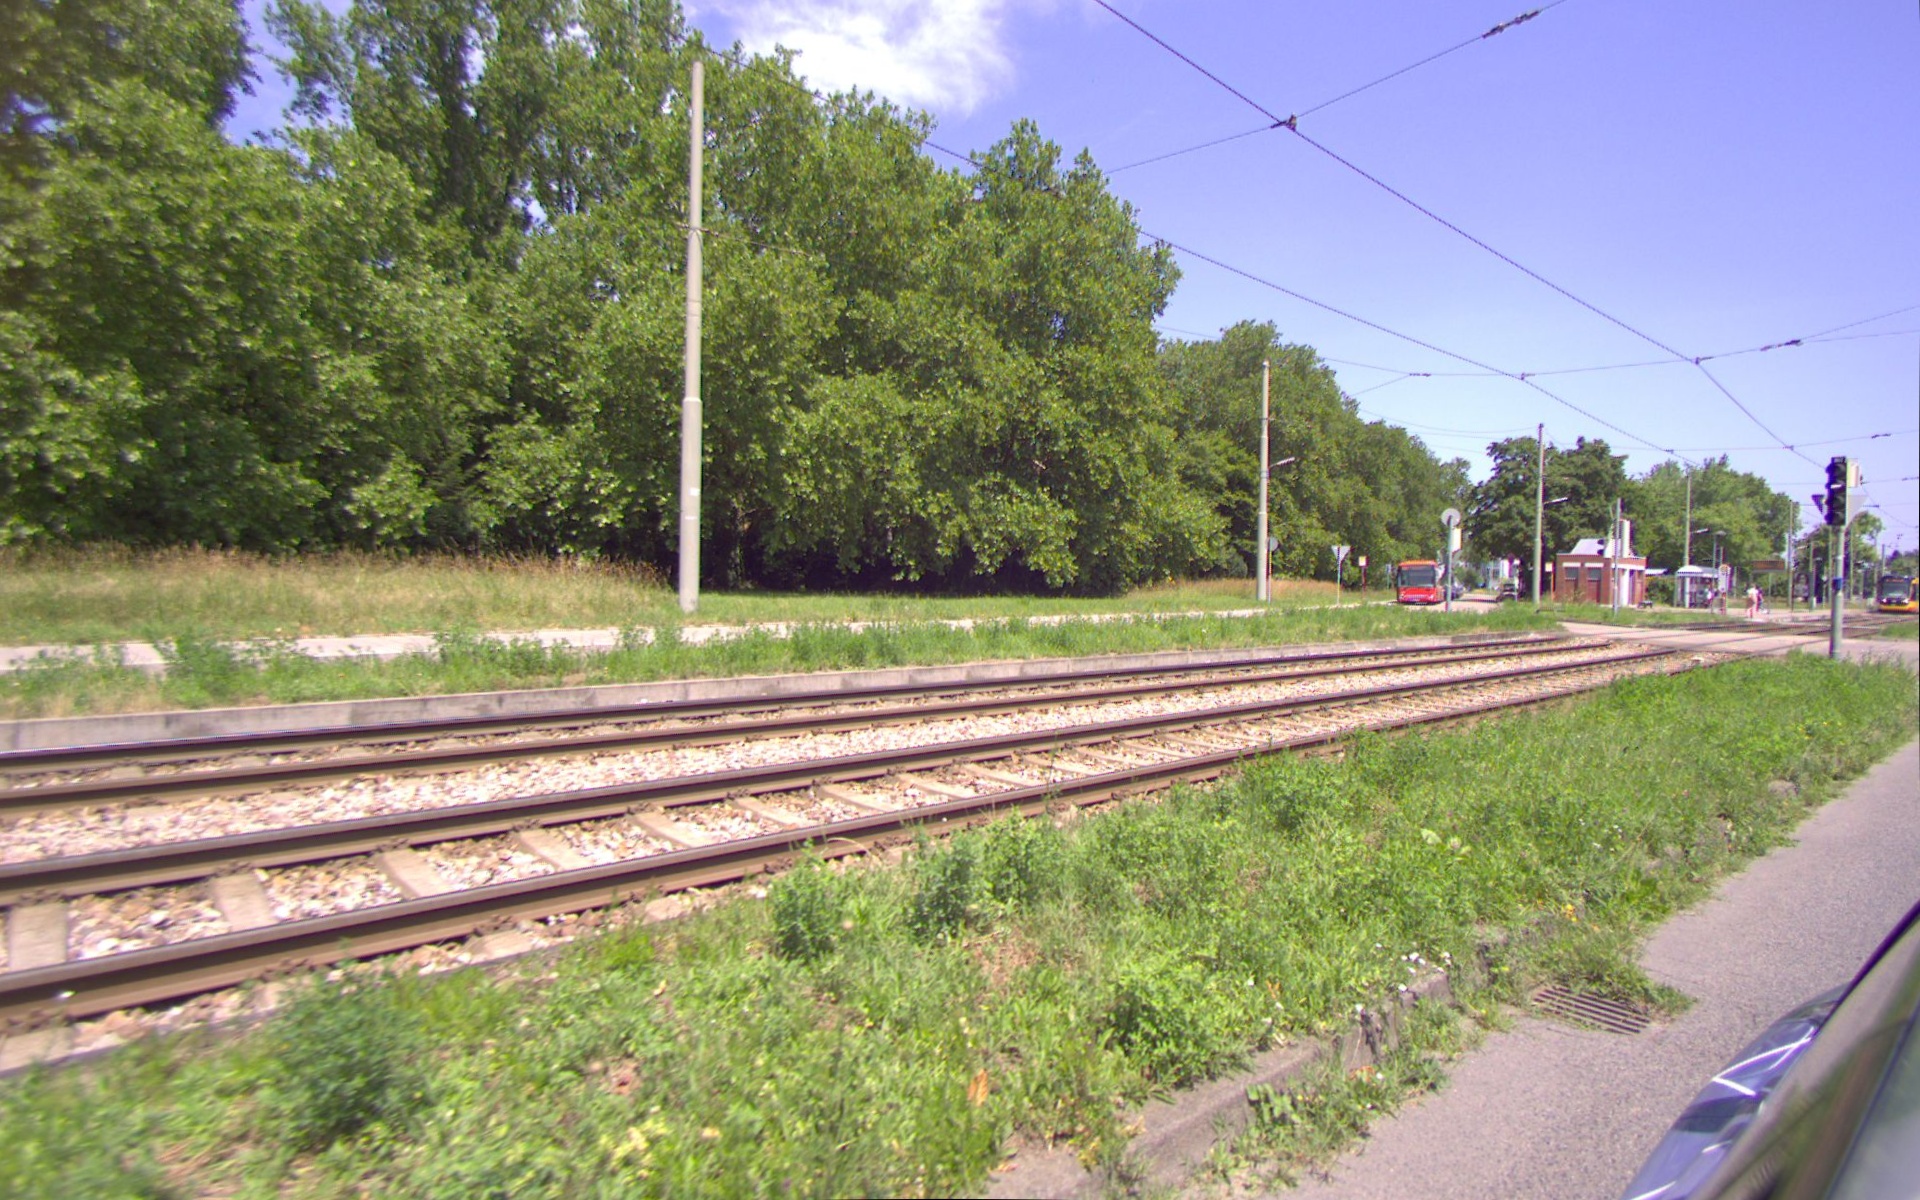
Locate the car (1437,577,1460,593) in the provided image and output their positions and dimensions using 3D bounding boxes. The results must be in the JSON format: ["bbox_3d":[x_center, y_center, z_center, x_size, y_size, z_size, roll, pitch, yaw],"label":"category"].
[{"bbox_3d":[50.776,-1.534,105.159,1.871,1.530,3.960,3,2,28],"label":"car"}]

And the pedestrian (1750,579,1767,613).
[{"bbox_3d":[41.677,-0.216,52.801,0.632,1.781,0.806,0,0,35],"label":"pedestrian"}]

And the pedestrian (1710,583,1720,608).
[{"bbox_3d":[55.289,-0.337,74.121,0.726,1.796,0.382,1,2,-39],"label":"pedestrian"}]

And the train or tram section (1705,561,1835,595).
[{"bbox_3d":[94.571,-2.539,118.631,2.659,3.695,13.211,0,1,-12],"label":"train or tram section"}]

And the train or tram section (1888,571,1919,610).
[{"bbox_3d":[84.703,-0.795,89.949,7.134,3.364,2.523,1,2,-42],"label":"train or tram section"}]

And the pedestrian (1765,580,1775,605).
[{"bbox_3d":[54.685,-0.496,68.319,0.437,1.666,0.361,1,1,-39],"label":"pedestrian"}]

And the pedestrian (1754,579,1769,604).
[{"bbox_3d":[60.555,-0.644,76.430,0.646,1.786,0.707,1,2,-40],"label":"pedestrian"}]

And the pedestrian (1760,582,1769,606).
[{"bbox_3d":[54.819,-0.380,68.968,0.474,1.616,0.361,1,2,-39],"label":"pedestrian"}]

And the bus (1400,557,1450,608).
[{"bbox_3d":[35.206,-1.307,76.372,2.743,3.482,12.323,0,1,28],"label":"bus"}]
